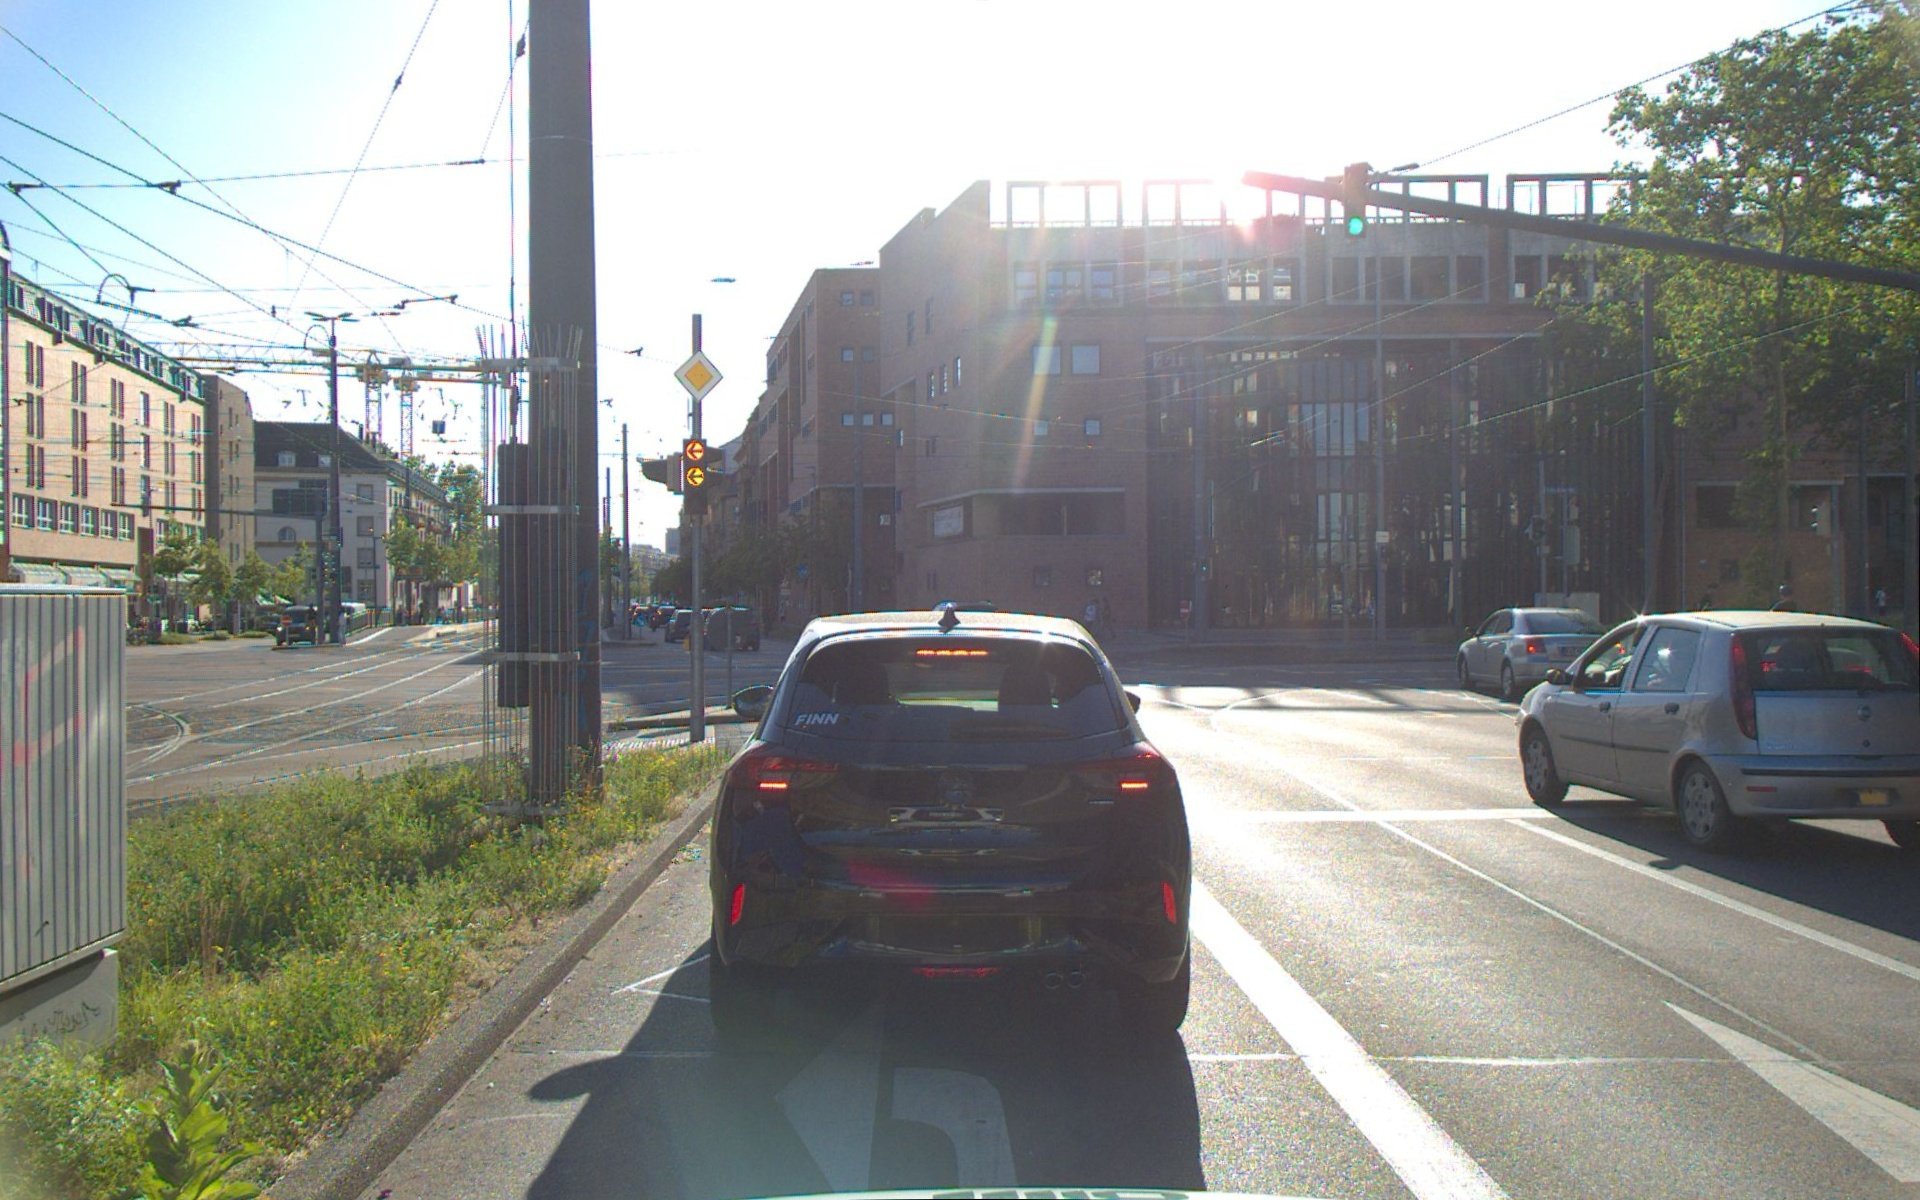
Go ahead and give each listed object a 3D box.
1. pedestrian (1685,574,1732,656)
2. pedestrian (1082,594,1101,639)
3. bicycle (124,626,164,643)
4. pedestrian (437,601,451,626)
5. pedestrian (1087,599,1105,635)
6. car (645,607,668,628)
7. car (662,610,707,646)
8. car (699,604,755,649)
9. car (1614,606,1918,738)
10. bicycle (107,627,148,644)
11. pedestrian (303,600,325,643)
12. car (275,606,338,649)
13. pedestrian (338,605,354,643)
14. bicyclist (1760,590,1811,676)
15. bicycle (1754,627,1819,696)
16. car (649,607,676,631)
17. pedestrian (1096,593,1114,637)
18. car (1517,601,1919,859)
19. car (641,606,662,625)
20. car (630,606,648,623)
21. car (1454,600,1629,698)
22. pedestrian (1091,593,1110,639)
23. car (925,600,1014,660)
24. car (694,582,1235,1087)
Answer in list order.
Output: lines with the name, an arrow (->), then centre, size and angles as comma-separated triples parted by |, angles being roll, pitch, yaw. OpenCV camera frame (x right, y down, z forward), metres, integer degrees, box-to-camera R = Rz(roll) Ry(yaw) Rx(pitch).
pedestrian -> 16.312, 0.328, 36.038 | 0.774, 1.764, 0.587 | 1, -1, 7
pedestrian -> 5.376, 0.667, 67.731 | 0.563, 1.817, 0.546 | -1, 0, -20
bicycle -> -46.250, 1.962, 93.717 | 1.992, 0.937, 0.483 | -1, 0, -2
pedestrian -> -35.651, 0.924, 114.231 | 0.849, 1.699, 0.779 | 0, 1, -22
pedestrian -> 5.744, 0.733, 69.894 | 0.541, 1.503, 0.568 | -1, 1, -29
car -> -22.585, 1.292, 122.994 | 1.489, 1.479, 3.572 | -1, 0, -13
car -> -12.225, 1.227, 73.227 | 1.691, 1.479, 3.685 | -1, 0, -13
car -> -8.196, 0.895, 57.986 | 1.690, 1.479, 3.687 | -1, 0, -11
car -> 9.787, 0.815, 20.451 | 1.661, 1.465, 4.016 | 0, -1, -3
bicycle -> -46.591, 1.988, 92.568 | 1.992, 0.937, 0.483 | -1, 0, -2
pedestrian -> -26.797, 0.889, 68.636 | 0.708, 1.757, 0.593 | -1, 0, -11
car -> -30.746, 1.274, 77.921 | 1.805, 1.868, 4.099 | -2, 0, -9
pedestrian -> -26.314, 1.012, 70.894 | 0.573, 1.604, 0.641 | -1, 0, -25
bicyclist -> 14.282, 0.562, 28.612 | 0.653, 1.432, 0.812 | 1, 2, 37
bicycle -> 14.397, 1.048, 28.789 | 0.653, 1.036, 2.176 | 1, 2, 37
car -> -19.234, 1.230, 106.886 | 1.489, 1.479, 3.572 | -1, 0, -13
pedestrian -> 6.016, 0.622, 68.662 | 0.563, 1.817, 0.546 | -1, 0, -20
car -> 5.278, 0.757, 11.407 | 1.529, 1.481, 3.429 | -1, 0, -4
car -> -25.281, 1.274, 135.327 | 1.489, 1.479, 3.572 | -1, 0, -13
car -> -28.989, 1.293, 149.298 | 1.489, 1.479, 3.572 | -1, 0, -13
car -> 9.655, 0.762, 27.772 | 1.660, 1.500, 3.983 | -1, 0, 2
pedestrian -> 5.705, 0.654, 67.137 | 0.563, 1.817, 0.546 | -1, 0, -20
car -> 0.211, 0.771, 43.848 | 1.641, 1.479, 3.687 | -1, 0, -11
car -> -0.009, 0.716, 6.901 | 1.638, 1.528, 3.690 | 1, 0, -1
